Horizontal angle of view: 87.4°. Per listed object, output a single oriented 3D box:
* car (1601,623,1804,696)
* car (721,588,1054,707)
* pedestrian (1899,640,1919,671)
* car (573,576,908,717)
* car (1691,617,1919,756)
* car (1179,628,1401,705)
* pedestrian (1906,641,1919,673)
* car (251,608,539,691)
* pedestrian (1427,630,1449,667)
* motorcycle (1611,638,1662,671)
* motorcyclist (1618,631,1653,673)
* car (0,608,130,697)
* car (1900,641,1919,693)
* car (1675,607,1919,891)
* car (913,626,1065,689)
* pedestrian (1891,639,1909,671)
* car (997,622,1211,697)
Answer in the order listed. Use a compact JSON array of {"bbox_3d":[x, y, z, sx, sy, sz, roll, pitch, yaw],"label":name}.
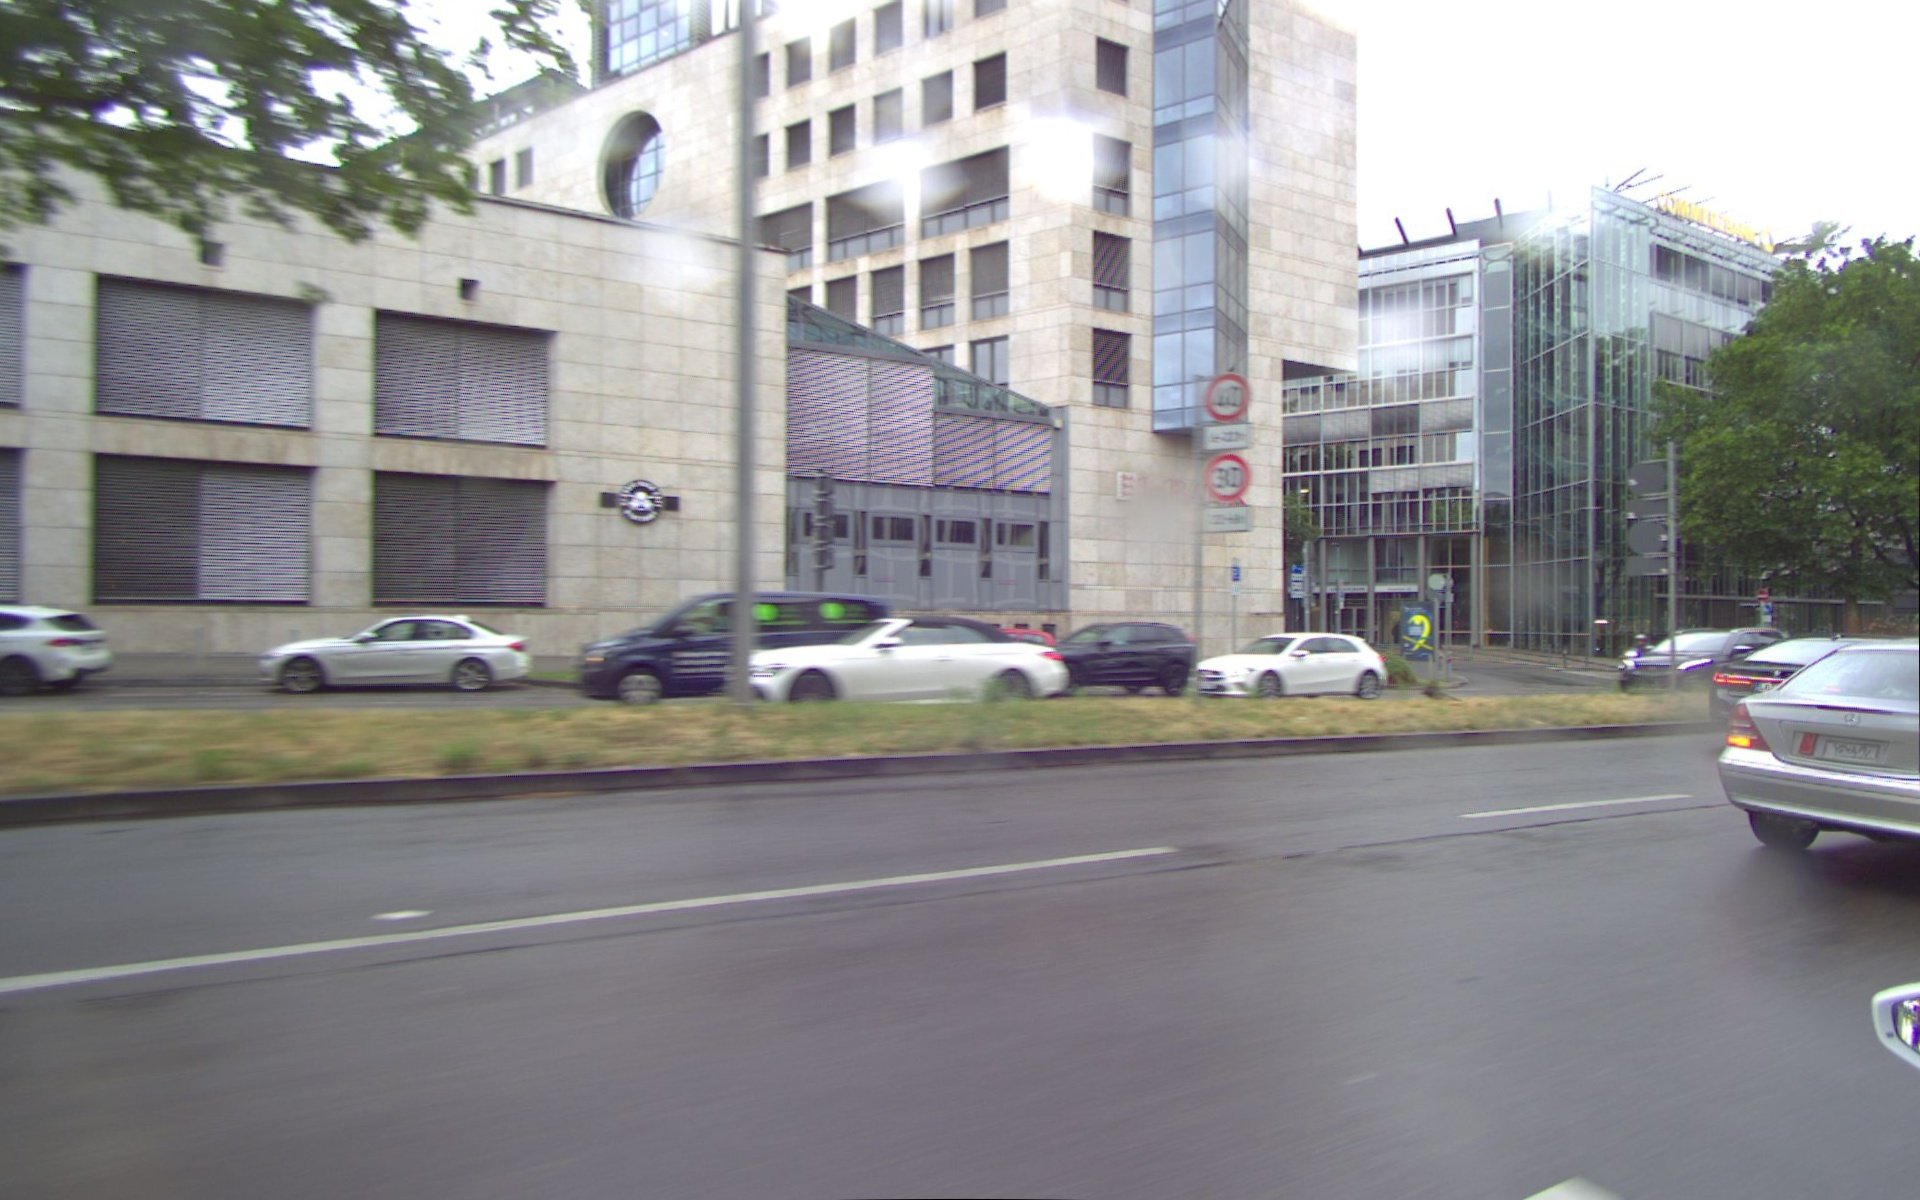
[{"bbox_3d":[16.233,1.312,21.921,4.522,1.456,1.694,3,-2,-26],"label":"car"},{"bbox_3d":[-1.014,0.687,14.044,4.253,1.461,1.856,3,-2,-23],"label":"car"},{"bbox_3d":[57.445,3.362,60.717,0.792,1.832,0.732,1,0,-26],"label":"pedestrian"},{"bbox_3d":[-3.539,0.789,16.326,5.032,2.028,1.827,3,-2,-23],"label":"car"},{"bbox_3d":[12.103,1.040,13.382,4.817,1.498,1.866,-1,-4,-29],"label":"car"},{"bbox_3d":[6.868,1.378,20.883,4.334,1.451,1.723,3,-2,-23],"label":"car"},{"bbox_3d":[55.163,3.278,57.973,0.750,1.832,0.594,1,0,-26],"label":"pedestrian"},{"bbox_3d":[-10.755,0.971,19.563,4.637,1.434,1.744,3,-2,-22],"label":"car"},{"bbox_3d":[20.835,2.107,43.801,0.659,1.591,0.817,0,0,42],"label":"pedestrian"},{"bbox_3d":[20.920,1.684,31.060,1.378,0.983,0.692,2,-1,-25],"label":"motorcycle"},{"bbox_3d":[20.877,1.601,31.035,0.611,1.255,0.672,2,-1,-25],"label":"motorcyclist"},{"bbox_3d":[-17.010,0.834,16.933,4.230,1.434,1.744,3,-2,-21],"label":"car"},{"bbox_3d":[27.448,1.867,27.137,4.060,1.378,1.592,3,-2,-25],"label":"car"},{"bbox_3d":[6.889,0.907,6.673,4.305,1.498,1.666,3,-1,-27],"label":"car"},{"bbox_3d":[0.714,1.410,24.657,3.352,1.434,1.589,3,-2,-22],"label":"car"},{"bbox_3d":[54.832,3.207,58.586,0.504,1.832,0.603,1,0,-26],"label":"pedestrian"},{"bbox_3d":[3.295,1.353,22.838,4.575,1.552,1.723,3,-2,-23],"label":"car"}]
